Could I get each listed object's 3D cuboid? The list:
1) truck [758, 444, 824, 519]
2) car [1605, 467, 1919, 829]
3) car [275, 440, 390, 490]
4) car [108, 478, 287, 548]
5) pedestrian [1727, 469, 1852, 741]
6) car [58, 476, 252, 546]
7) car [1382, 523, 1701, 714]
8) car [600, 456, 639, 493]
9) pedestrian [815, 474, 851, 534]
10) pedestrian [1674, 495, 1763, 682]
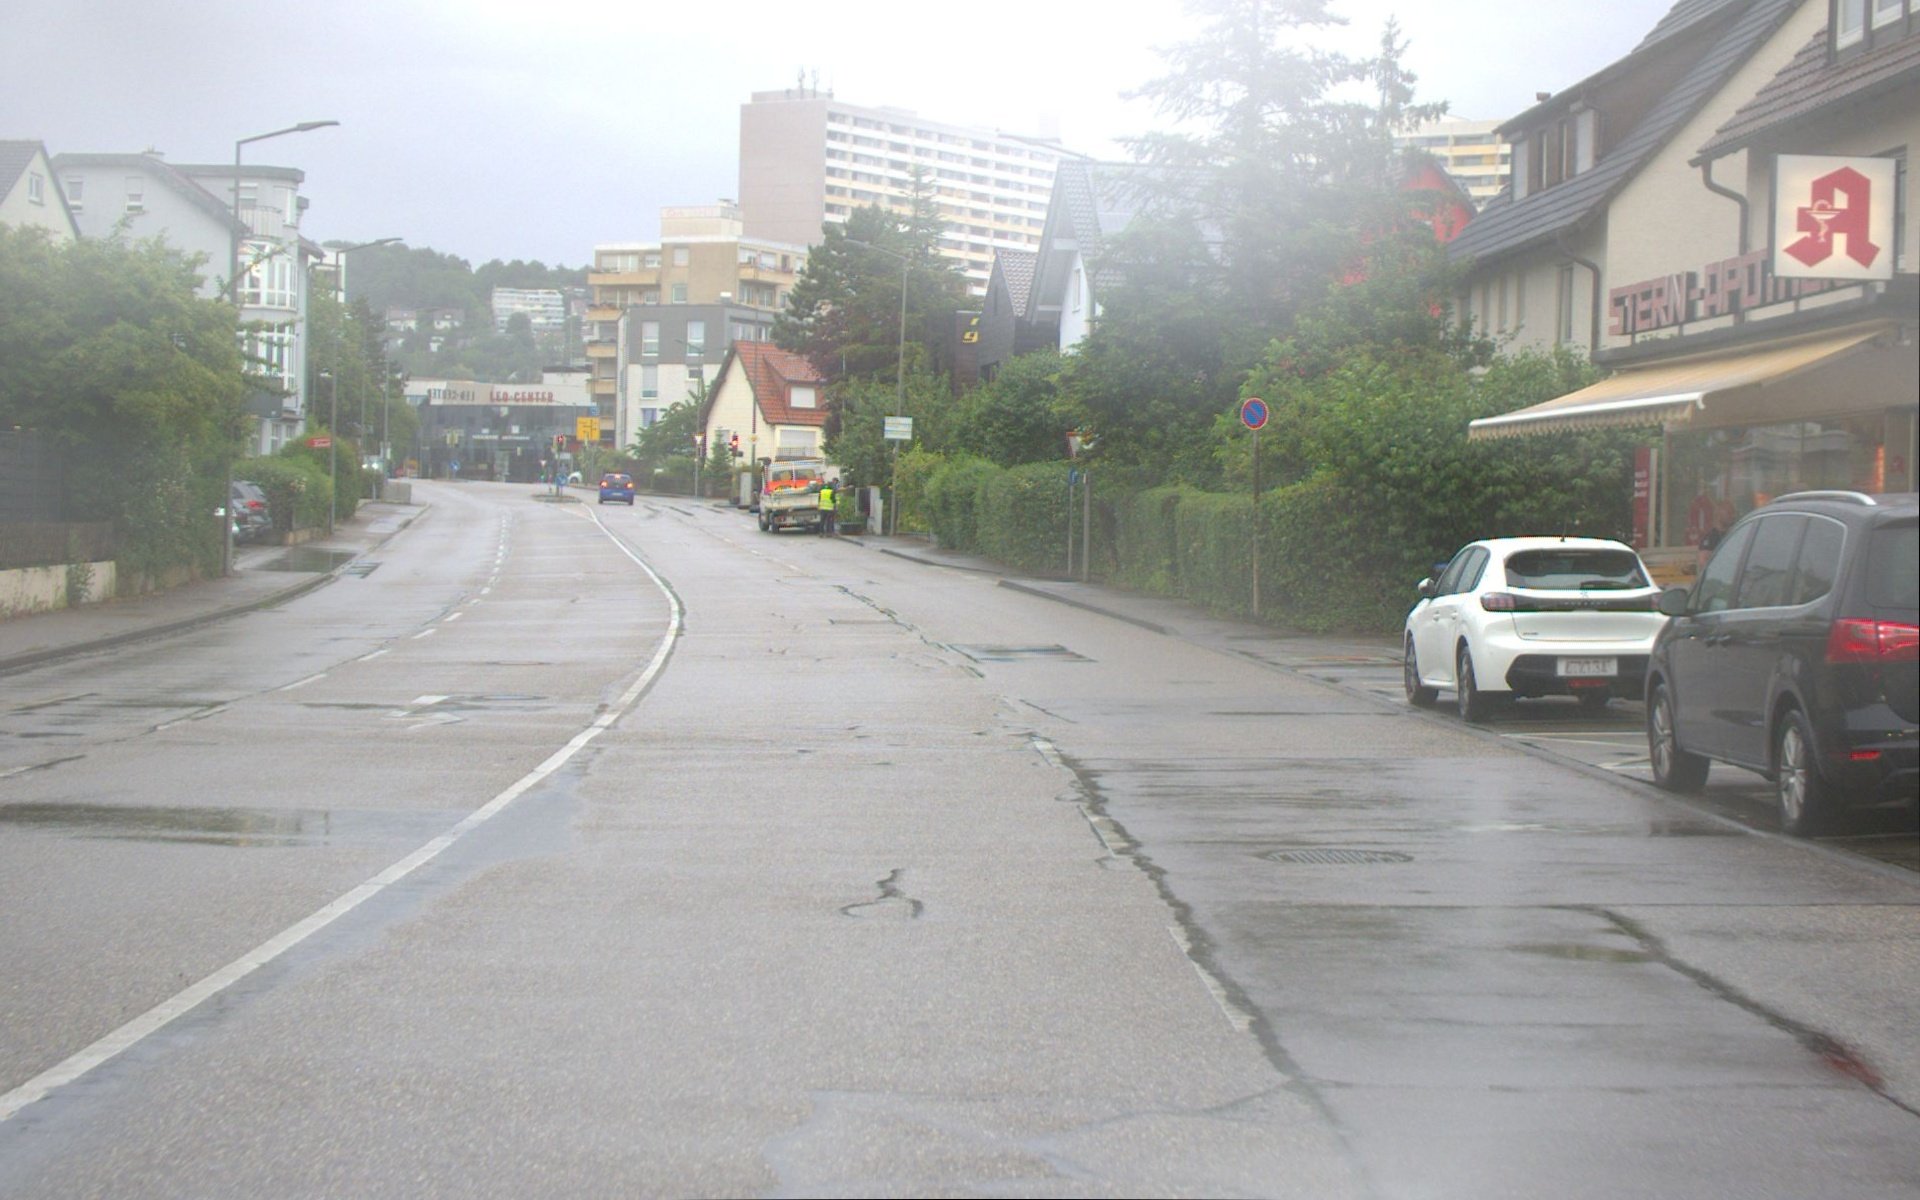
[{"bbox_3d":[-5.347,-3.766,108.765,1.993,2.295,4.001,1,2,-3],"label":"truck"},{"bbox_3d":[4.977,0.189,18.577,2.035,1.689,4.963,-1,1,0],"label":"car"},{"bbox_3d":[-27.419,-5.896,150.273,4.523,2.006,2.000,3,2,7],"label":"car"},{"bbox_3d":[-19.069,-2.182,86.023,3.989,1.680,1.808,1,1,11],"label":"car"},{"bbox_3d":[5.870,0.028,24.327,0.623,1.885,0.646,2,1,34],"label":"pedestrian"},{"bbox_3d":[-18.637,-2.067,79.682,3.987,1.429,1.971,3,2,0],"label":"car"},{"bbox_3d":[4.722,0.095,28.465,1.815,1.443,4.204,0,1,-2],"label":"car"},{"bbox_3d":[-16.212,-5.970,163.655,1.794,1.664,4.001,0,1,-5],"label":"car"},{"bbox_3d":[-3.857,-2.917,104.648,0.823,1.791,0.800,0,2,-25],"label":"pedestrian"},{"bbox_3d":[6.892,-0.105,31.227,0.550,1.672,0.517,0,2,-39],"label":"pedestrian"}]
